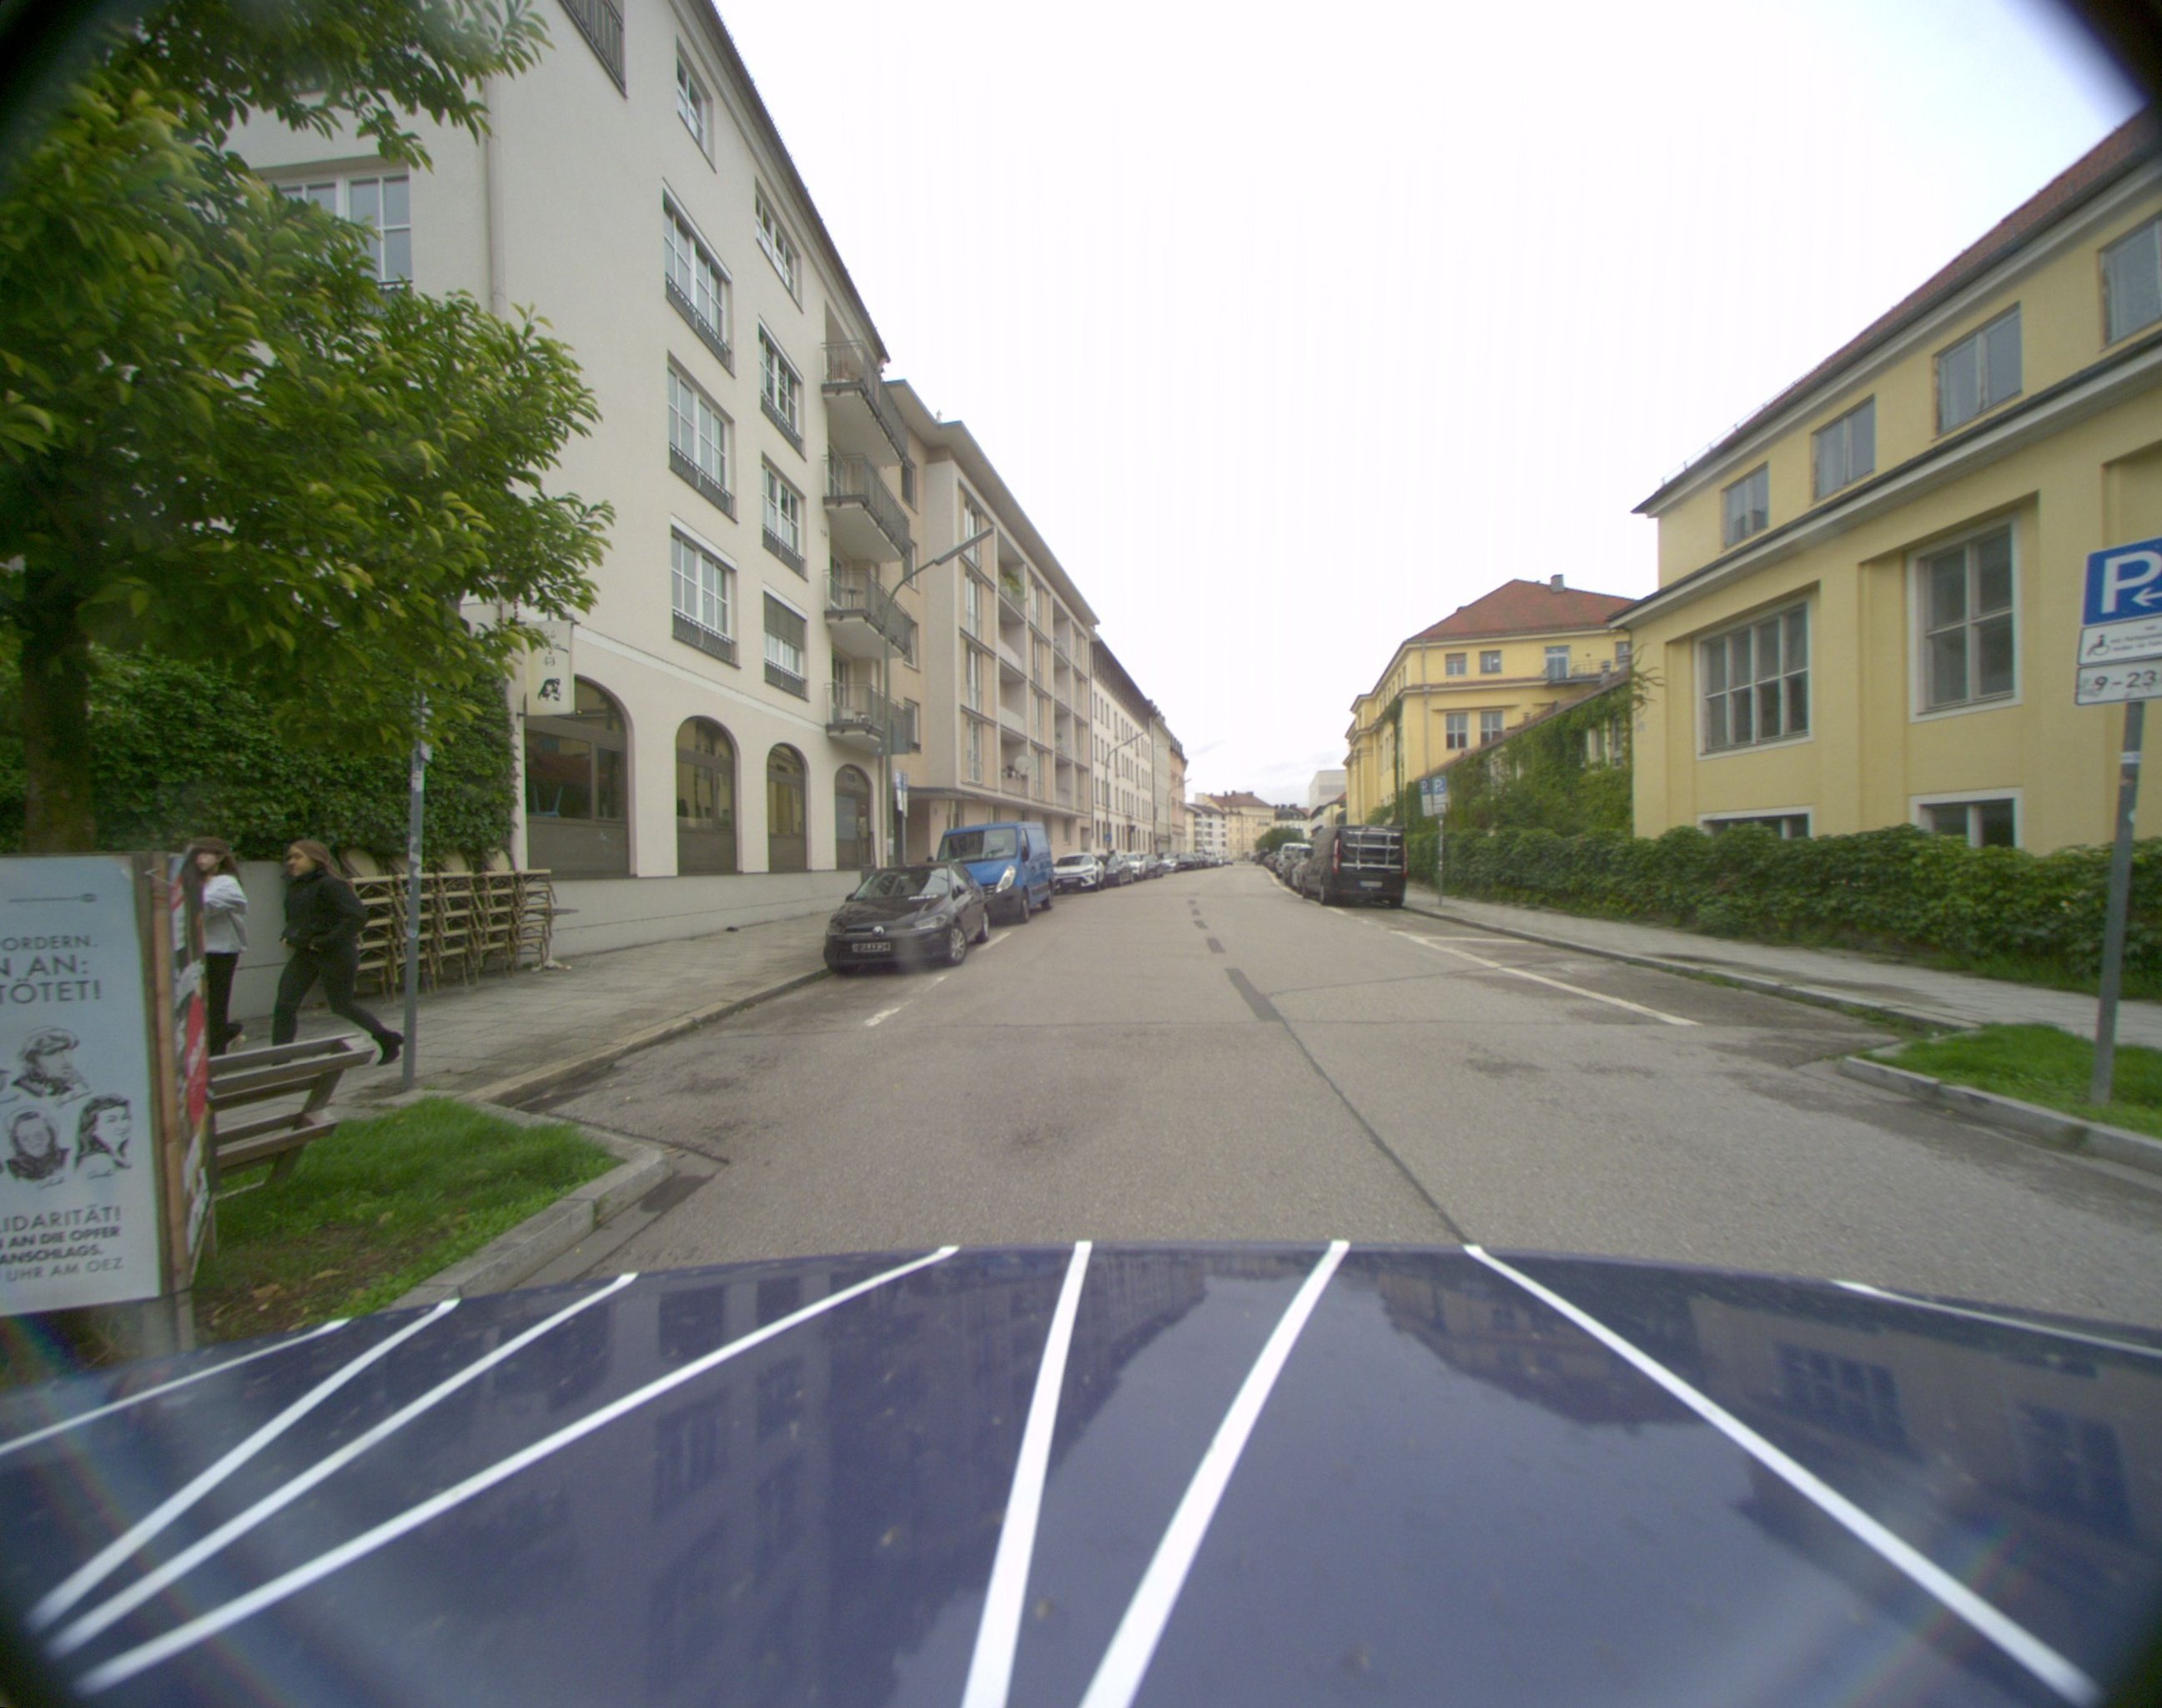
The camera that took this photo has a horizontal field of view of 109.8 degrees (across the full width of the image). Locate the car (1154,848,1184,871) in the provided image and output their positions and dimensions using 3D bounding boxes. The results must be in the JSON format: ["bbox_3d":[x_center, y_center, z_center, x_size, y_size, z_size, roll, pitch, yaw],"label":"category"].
[{"bbox_3d":[6.375,0.376,54.643,1.617,1.507,3.384,-5,-1,14],"label":"car"}]

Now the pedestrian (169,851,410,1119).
[{"bbox_3d":[-5.173,0.794,5.028,0.680,1.619,0.830,0,2,3],"label":"pedestrian"}]

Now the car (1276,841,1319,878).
[{"bbox_3d":[11.676,0.296,41.248,1.895,1.788,4.886,4,1,13],"label":"car"}]

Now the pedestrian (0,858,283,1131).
[{"bbox_3d":[-6.032,0.835,4.925,0.808,1.597,0.830,0,2,4],"label":"pedestrian"}]

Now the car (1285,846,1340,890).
[{"bbox_3d":[9.303,0.524,30.818,1.704,1.597,4.495,3,1,12],"label":"car"}]

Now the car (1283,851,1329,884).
[{"bbox_3d":[10.613,0.589,36.098,1.806,1.370,4.495,4,1,13],"label":"car"}]

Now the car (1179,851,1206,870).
[{"bbox_3d":[9.422,0.539,63.844,1.876,1.439,4.705,-2,-1,12],"label":"car"}]

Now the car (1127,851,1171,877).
[{"bbox_3d":[4.007,0.568,43.989,1.830,1.373,4.496,-3,-1,14],"label":"car"}]

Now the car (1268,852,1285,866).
[{"bbox_3d":[21.627,0.575,84.273,1.736,1.431,3.783,2,0,13],"label":"car"}]

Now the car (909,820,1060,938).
[{"bbox_3d":[-2.010,0.423,17.685,2.113,2.201,5.029,-5,1,7],"label":"car"}]

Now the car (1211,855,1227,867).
[{"bbox_3d":[19.969,0.997,109.683,1.999,1.563,4.496,-3,-1,14],"label":"car"}]

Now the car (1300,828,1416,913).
[{"bbox_3d":[7.282,0.394,20.474,1.929,1.968,4.625,2,0,8],"label":"car"}]

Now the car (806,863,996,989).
[{"bbox_3d":[-2.471,0.927,11.484,1.718,1.386,4.000,-4,0,2],"label":"car"}]

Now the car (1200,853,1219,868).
[{"bbox_3d":[14.820,0.719,87.511,1.767,1.531,4.004,-3,-1,14],"label":"car"}]

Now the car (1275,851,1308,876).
[{"bbox_3d":[12.778,0.562,46.330,1.669,1.401,3.562,2,0,12],"label":"car"}]

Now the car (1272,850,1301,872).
[{"bbox_3d":[15.137,0.524,56.130,1.719,1.473,4.224,4,1,12],"label":"car"}]

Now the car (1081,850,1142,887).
[{"bbox_3d":[1.457,0.624,34.372,1.775,1.420,4.698,-5,-1,14],"label":"car"}]

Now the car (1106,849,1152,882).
[{"bbox_3d":[2.547,0.567,39.299,1.705,1.460,4.123,-5,-1,11],"label":"car"}]

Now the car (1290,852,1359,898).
[{"bbox_3d":[8.164,0.663,25.796,1.709,1.357,4.005,4,0,11],"label":"car"}]

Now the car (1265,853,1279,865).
[{"bbox_3d":[25.737,0.649,102.415,1.772,1.546,4.214,2,1,13],"label":"car"}]

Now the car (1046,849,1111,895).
[{"bbox_3d":[-0.008,0.654,28.885,1.779,1.513,4.307,-5,-1,7],"label":"car"}]

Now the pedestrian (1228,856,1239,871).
[{"bbox_3d":[29.657,1.853,147.536,1.927,2.933,2.027,0,0,13],"label":"pedestrian"}]

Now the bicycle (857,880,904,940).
[{"bbox_3d":[-3.971,1.085,15.142,0.566,1.063,1.786,0,0,-3],"label":"bicycle"}]

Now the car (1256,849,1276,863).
[{"bbox_3d":[33.596,0.398,138.168,2.845,2.536,6.897,0,0,7],"label":"car"}]
